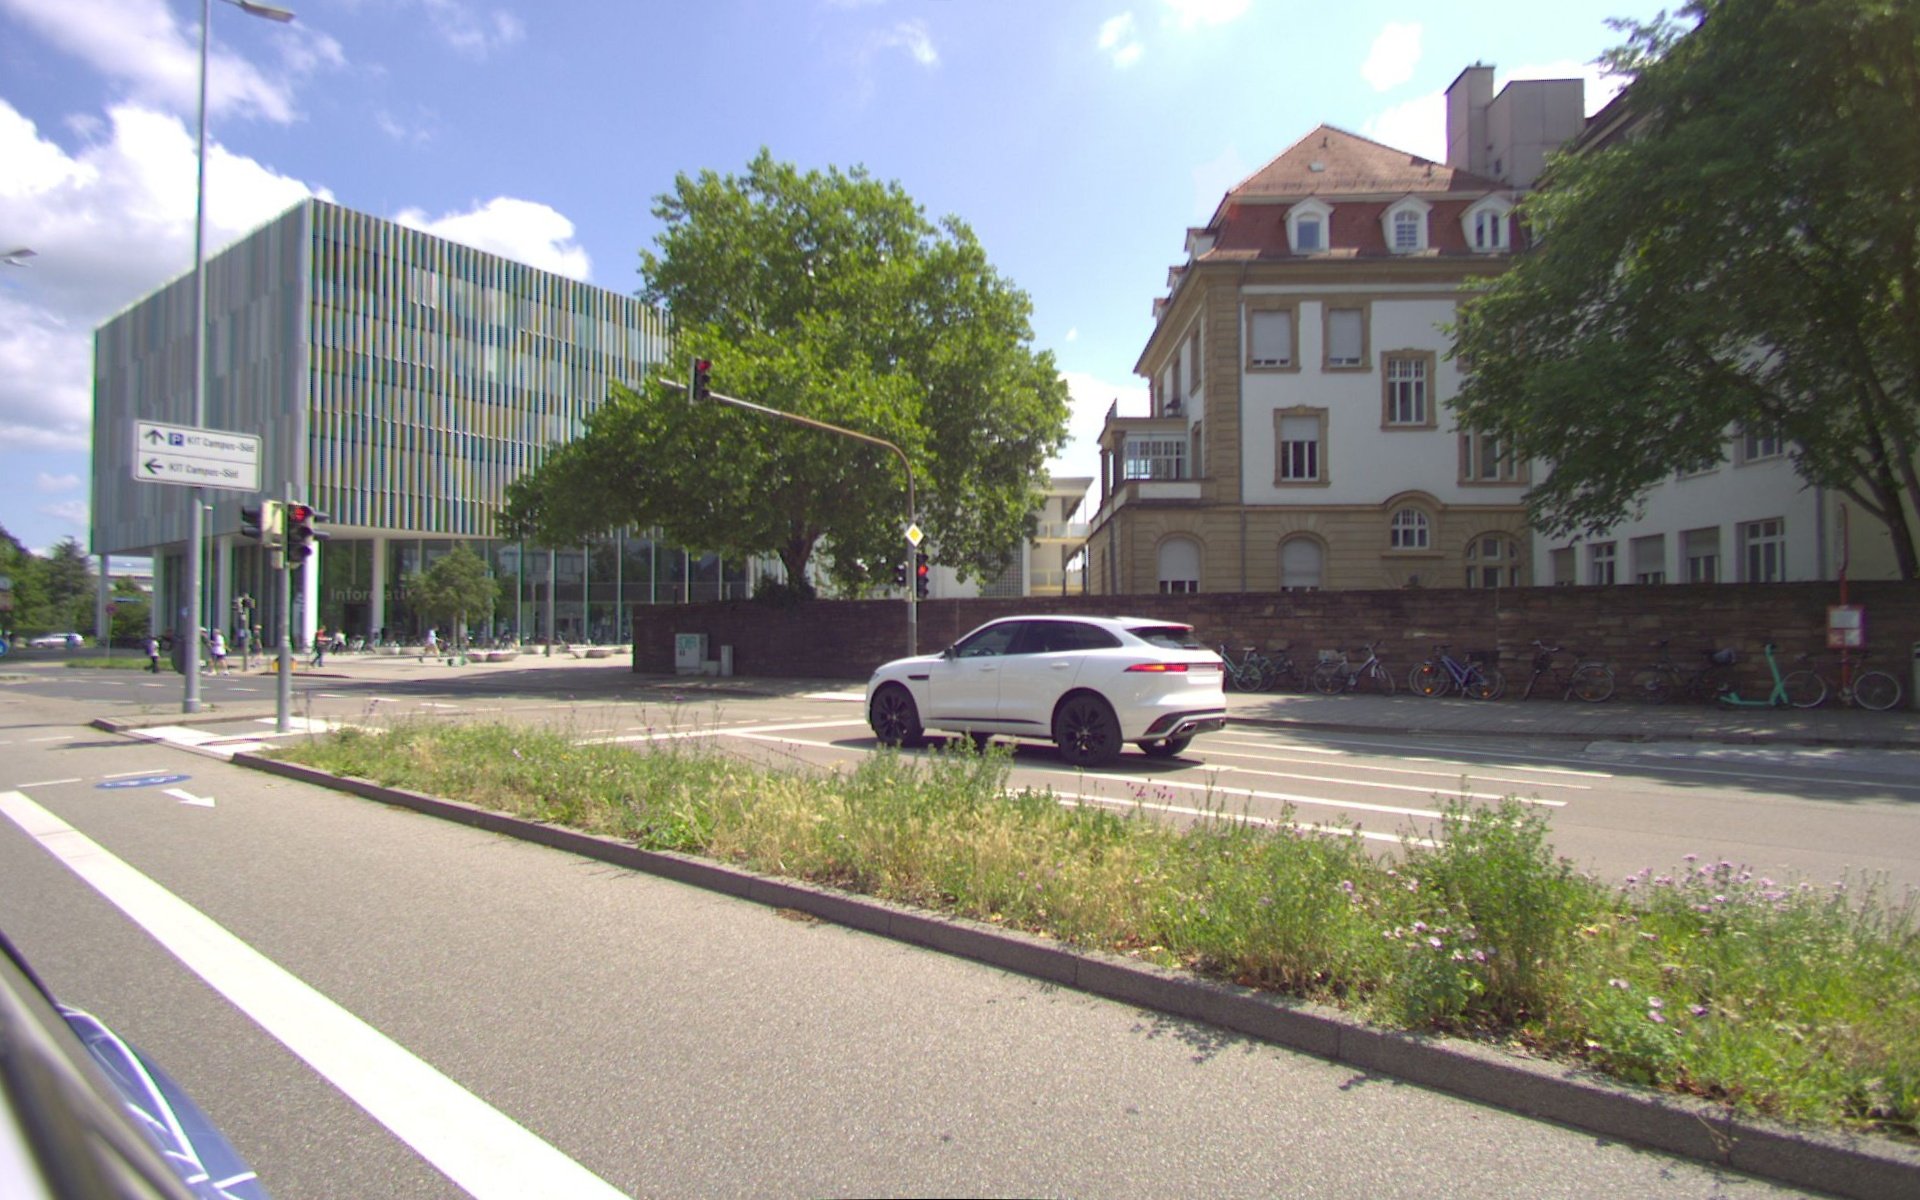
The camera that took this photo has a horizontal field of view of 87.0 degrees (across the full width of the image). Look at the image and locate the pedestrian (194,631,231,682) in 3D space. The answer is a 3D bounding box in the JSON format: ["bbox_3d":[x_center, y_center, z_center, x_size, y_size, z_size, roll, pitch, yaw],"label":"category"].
[{"bbox_3d":[-28.898,2.164,39.130,1.091,1.940,0.974,1,-2,-39],"label":"pedestrian"}]

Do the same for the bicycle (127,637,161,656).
[{"bbox_3d":[-66.071,3.734,81.924,0.620,1.506,2.045,-2,-2,39],"label":"bicycle"}]

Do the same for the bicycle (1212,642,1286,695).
[{"bbox_3d":[6.494,1.526,22.773,1.580,1.161,0.400,-1,-2,17],"label":"bicycle"}]

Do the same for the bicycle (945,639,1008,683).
[{"bbox_3d":[0.422,1.593,26.599,1.588,1.107,0.567,-2,-2,31],"label":"bicycle"}]

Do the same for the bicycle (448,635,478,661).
[{"bbox_3d":[-30.962,2.995,63.050,0.983,1.564,3.424,0,-2,-14],"label":"bicycle"}]

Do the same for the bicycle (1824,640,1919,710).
[{"bbox_3d":[15.887,1.272,17.309,1.586,1.152,0.429,-1,-2,27],"label":"bicycle"}]

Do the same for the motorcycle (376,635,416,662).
[{"bbox_3d":[-34.912,2.996,62.702,0.956,1.652,3.302,0,-2,-7],"label":"motorcycle"}]

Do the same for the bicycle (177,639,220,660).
[{"bbox_3d":[-55.662,3.583,73.958,0.620,1.506,2.421,-2,-2,39],"label":"bicycle"}]

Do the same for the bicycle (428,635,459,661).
[{"bbox_3d":[-32.122,2.989,63.003,0.983,1.564,3.424,0,-2,-14],"label":"bicycle"}]

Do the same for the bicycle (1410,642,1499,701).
[{"bbox_3d":[10.052,1.438,20.611,1.587,1.161,0.399,-1,-2,28],"label":"bicycle"}]

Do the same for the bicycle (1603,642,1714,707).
[{"bbox_3d":[12.962,1.374,18.817,1.581,1.161,0.531,-1,-2,18],"label":"bicycle"}]

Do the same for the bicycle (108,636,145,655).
[{"bbox_3d":[-69.817,3.789,84.828,0.620,1.506,2.301,-2,-2,39],"label":"bicycle"}]

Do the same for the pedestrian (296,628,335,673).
[{"bbox_3d":[-28.046,2.188,44.030,0.969,1.940,1.097,-1,-2,32],"label":"pedestrian"}]

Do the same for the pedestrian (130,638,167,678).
[{"bbox_3d":[-33.604,2.387,41.908,0.967,1.641,0.870,-1,-2,28],"label":"pedestrian"}]

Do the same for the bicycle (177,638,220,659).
[{"bbox_3d":[-56.267,3.600,74.813,2.474,1.506,0.731,1,-3,-41],"label":"bicycle"}]

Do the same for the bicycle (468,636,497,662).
[{"bbox_3d":[-29.740,3.006,63.106,0.983,1.564,3.424,0,-2,-14],"label":"bicycle"}]

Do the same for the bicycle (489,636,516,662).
[{"bbox_3d":[-28.407,3.005,62.882,0.983,1.564,3.424,0,-2,-14],"label":"bicycle"}]

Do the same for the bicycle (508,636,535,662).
[{"bbox_3d":[-27.302,3.014,63.044,0.983,1.564,3.424,0,-2,-14],"label":"bicycle"}]

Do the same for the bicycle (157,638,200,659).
[{"bbox_3d":[-58.707,3.621,76.047,0.620,1.506,2.480,-2,-2,39],"label":"bicycle"}]

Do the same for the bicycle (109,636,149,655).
[{"bbox_3d":[-68.315,3.756,83.215,0.620,1.506,2.480,-2,-2,39],"label":"bicycle"}]

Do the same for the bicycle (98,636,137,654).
[{"bbox_3d":[-71.301,3.804,85.681,0.620,1.506,2.480,-2,-2,39],"label":"bicycle"}]

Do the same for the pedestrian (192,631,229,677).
[{"bbox_3d":[-32.176,2.296,43.436,0.965,1.940,0.873,-1,-2,21],"label":"pedestrian"}]

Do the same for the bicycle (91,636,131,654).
[{"bbox_3d":[-72.179,3.810,86.071,0.620,1.506,2.480,-2,-2,39],"label":"bicycle"}]

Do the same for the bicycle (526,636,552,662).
[{"bbox_3d":[-26.192,3.019,63.031,0.983,1.564,3.424,0,-2,-14],"label":"bicycle"}]

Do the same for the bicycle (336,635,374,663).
[{"bbox_3d":[-37.281,3.002,62.421,0.797,1.656,3.421,0,-2,-10],"label":"bicycle"}]

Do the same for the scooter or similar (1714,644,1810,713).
[{"bbox_3d":[13.910,1.345,17.581,1.183,1.161,0.430,-1,-2,19],"label":"scooter or similar"}]

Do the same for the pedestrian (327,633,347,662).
[{"bbox_3d":[-37.768,2.853,61.308,0.997,1.720,1.213,1,-2,-33],"label":"pedestrian"}]

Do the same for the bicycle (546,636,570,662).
[{"bbox_3d":[-25.096,3.057,63.284,0.983,1.564,3.424,0,-2,-14],"label":"bicycle"}]

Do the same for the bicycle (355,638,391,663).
[{"bbox_3d":[-36.242,3.094,62.549,0.918,1.505,2.691,0,-2,-6],"label":"bicycle"}]

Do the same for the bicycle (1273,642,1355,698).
[{"bbox_3d":[7.543,1.493,21.581,1.575,1.161,0.402,-1,-2,7],"label":"bicycle"}]

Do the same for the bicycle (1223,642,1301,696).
[{"bbox_3d":[6.616,1.504,22.208,1.575,1.161,0.402,-1,-2,7],"label":"bicycle"}]

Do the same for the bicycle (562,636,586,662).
[{"bbox_3d":[-23.738,3.005,62.332,0.983,1.564,3.424,0,-2,-14],"label":"bicycle"}]

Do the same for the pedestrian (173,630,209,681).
[{"bbox_3d":[-30.195,2.153,39.731,1.091,1.940,0.974,1,-2,-37],"label":"pedestrian"}]

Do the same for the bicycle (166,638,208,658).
[{"bbox_3d":[-58.948,3.648,77.187,0.620,1.506,2.480,-2,-2,39],"label":"bicycle"}]

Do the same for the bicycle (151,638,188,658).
[{"bbox_3d":[-61.016,3.662,78.112,0.620,1.506,2.173,-2,-2,39],"label":"bicycle"}]

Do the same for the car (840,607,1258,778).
[{"bbox_3d":[0.917,0.994,12.309,4.772,1.680,2.049,-2,-3,41],"label":"car"}]

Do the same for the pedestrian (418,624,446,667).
[{"bbox_3d":[-24.289,2.092,46.569,1.090,1.940,0.975,1,-2,-30],"label":"pedestrian"}]

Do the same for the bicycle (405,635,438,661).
[{"bbox_3d":[-33.477,2.981,62.962,1.034,1.564,3.424,0,-2,-14],"label":"bicycle"}]

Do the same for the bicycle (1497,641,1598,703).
[{"bbox_3d":[11.319,1.384,19.541,1.581,1.161,0.531,-1,-2,18],"label":"bicycle"}]

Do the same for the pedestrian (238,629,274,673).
[{"bbox_3d":[-31.670,2.277,45.522,0.961,1.940,0.876,-1,-2,10],"label":"pedestrian"}]

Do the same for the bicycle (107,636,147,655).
[{"bbox_3d":[-69.122,3.772,83.987,0.620,1.506,2.480,-2,-2,39],"label":"bicycle"}]

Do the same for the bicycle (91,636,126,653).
[{"bbox_3d":[-73.595,3.839,87.480,0.656,1.506,2.274,-2,-2,39],"label":"bicycle"}]
